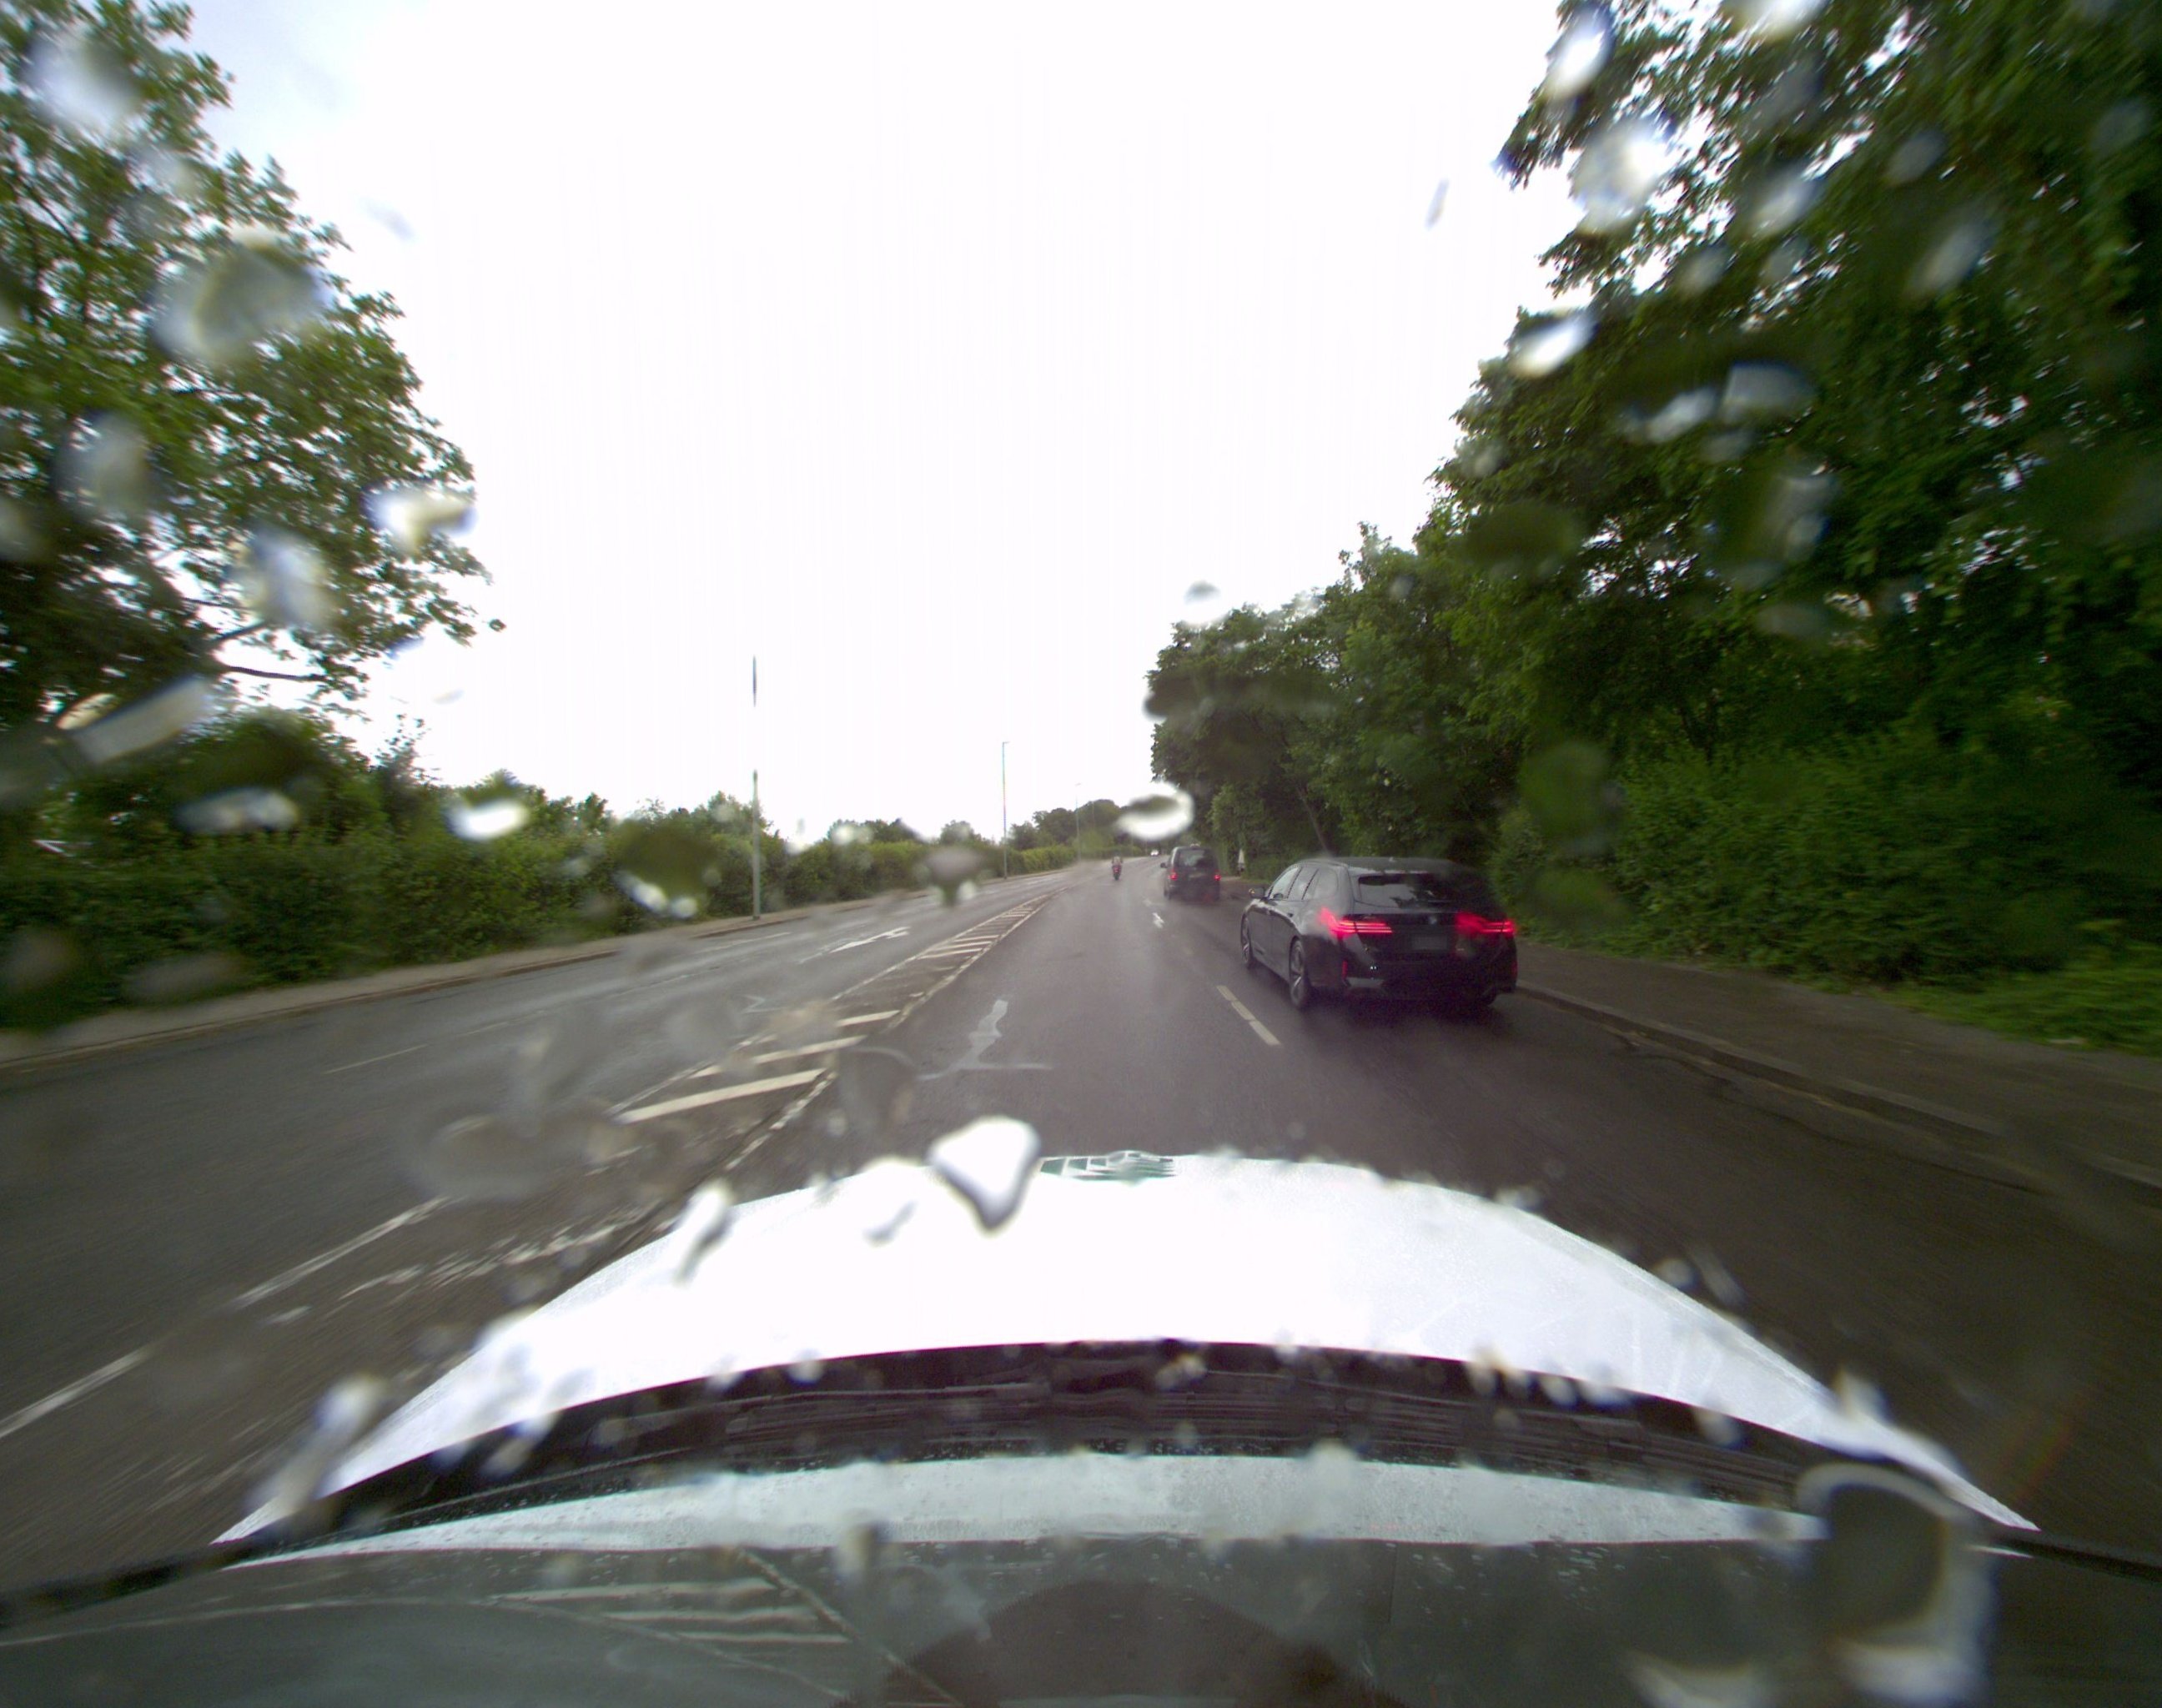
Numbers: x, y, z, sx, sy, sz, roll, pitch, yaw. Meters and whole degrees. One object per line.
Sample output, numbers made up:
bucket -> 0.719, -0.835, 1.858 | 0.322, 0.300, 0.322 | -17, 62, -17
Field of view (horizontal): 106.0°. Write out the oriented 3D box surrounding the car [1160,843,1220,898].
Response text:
car -> 3.788, 0.537, 28.839 | 1.760, 1.810, 3.908 | -1, 0, 3

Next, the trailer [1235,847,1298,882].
trailer -> 10.961, 0.606, 48.291 | 3.332, 1.647, 1.200 | 7, 1, 5

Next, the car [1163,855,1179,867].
car -> 12.667, 0.995, 114.888 | 2.003, 1.415, 4.498 | -1, 1, 9

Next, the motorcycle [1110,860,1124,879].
motorcycle -> 2.247, 0.929, 50.545 | 0.737, 1.119, 1.429 | -1, 1, 7

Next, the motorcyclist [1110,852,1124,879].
motorcyclist -> 2.237, 0.715, 50.488 | 0.841, 1.647, 0.469 | -1, 1, 7

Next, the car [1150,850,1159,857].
car -> 18.576, -0.064, 205.703 | 1.745, 1.662, 3.850 | 0, 1, -3

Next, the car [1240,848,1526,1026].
car -> 2.991, 0.733, 8.920 | 1.759, 1.536, 3.671 | 0, 0, 0
